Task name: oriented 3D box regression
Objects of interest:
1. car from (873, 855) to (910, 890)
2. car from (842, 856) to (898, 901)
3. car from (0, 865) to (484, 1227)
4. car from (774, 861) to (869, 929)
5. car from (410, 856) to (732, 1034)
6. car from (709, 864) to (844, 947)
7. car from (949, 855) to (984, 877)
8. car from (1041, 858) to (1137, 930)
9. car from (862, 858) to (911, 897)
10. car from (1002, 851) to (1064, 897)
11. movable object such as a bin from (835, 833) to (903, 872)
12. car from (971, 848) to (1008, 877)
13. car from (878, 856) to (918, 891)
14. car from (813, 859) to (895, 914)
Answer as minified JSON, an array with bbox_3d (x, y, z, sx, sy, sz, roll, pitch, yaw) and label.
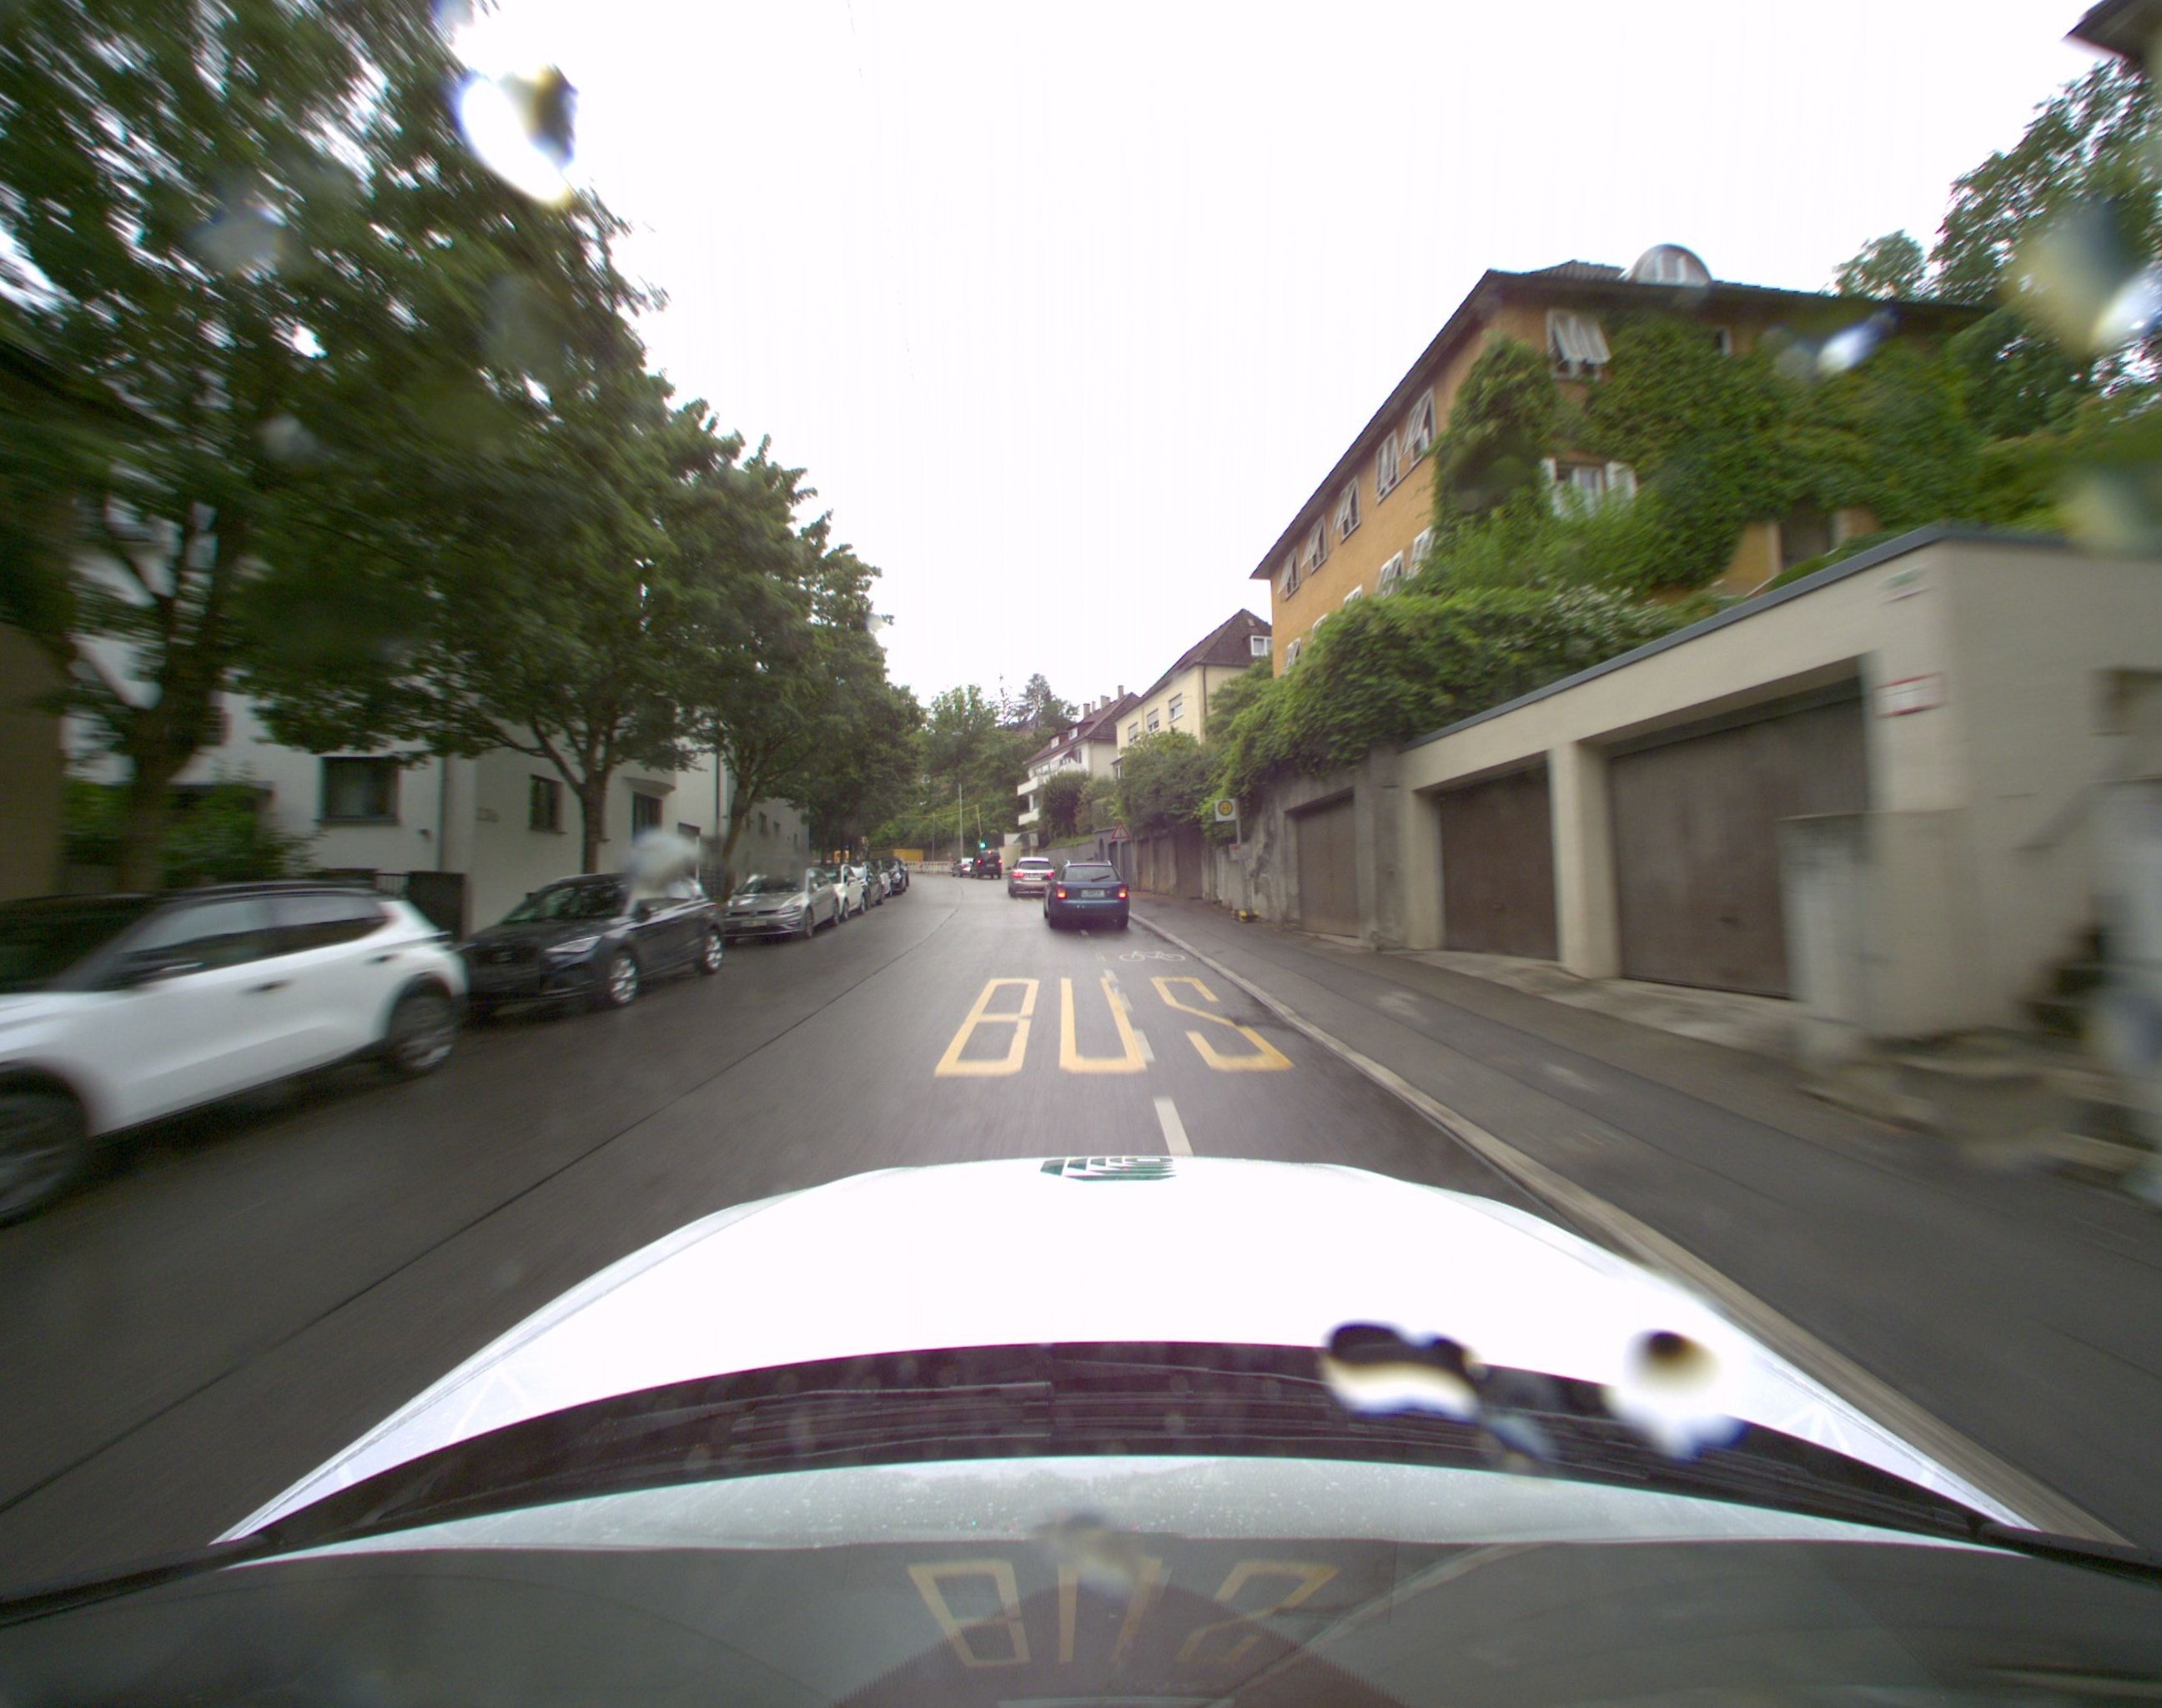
[{"bbox_3d":[-10.632,1.000,45.720,1.684,1.608,4.556,-9,2,-13],"label":"car"},{"bbox_3d":[-8.204,0.929,31.856,1.554,1.510,3.375,-5,0,-7],"label":"car"},{"bbox_3d":[-5.908,0.998,4.944,1.588,1.658,3.920,-7,0,-2],"label":"car"},{"bbox_3d":[-6.812,1.017,21.708,1.572,1.488,3.463,-5,1,-5],"label":"car"},{"bbox_3d":[-6.040,0.938,10.278,1.615,1.658,3.919,-5,0,-3],"label":"car"},{"bbox_3d":[-6.459,1.021,17.721,1.615,1.470,3.965,-5,0,-5],"label":"car"},{"bbox_3d":[-8.472,0.899,60.011,1.727,1.486,4.048,-2,0,-21],"label":"car"},{"bbox_3d":[0.073,0.839,18.845,1.783,1.442,3.956,-1,0,-6],"label":"car"},{"bbox_3d":[-8.440,0.987,35.582,1.554,1.488,4.086,-5,0,-8],"label":"car"},{"bbox_3d":[-1.919,0.690,31.295,1.926,1.618,4.307,-1,0,-9],"label":"car"},{"bbox_3d":[-22.449,-0.145,85.984,7.232,4.014,2.847,0,0,34],"label":"movable object such as a bin"},{"bbox_3d":[-6.184,0.531,54.666,1.995,1.794,3.983,-2,0,-12],"label":"car"},{"bbox_3d":[-8.982,0.937,40.220,1.633,1.565,3.835,-3,0,-10],"label":"car"},{"bbox_3d":[-7.289,0.988,26.557,1.661,1.488,4.467,-5,0,-5],"label":"car"}]
